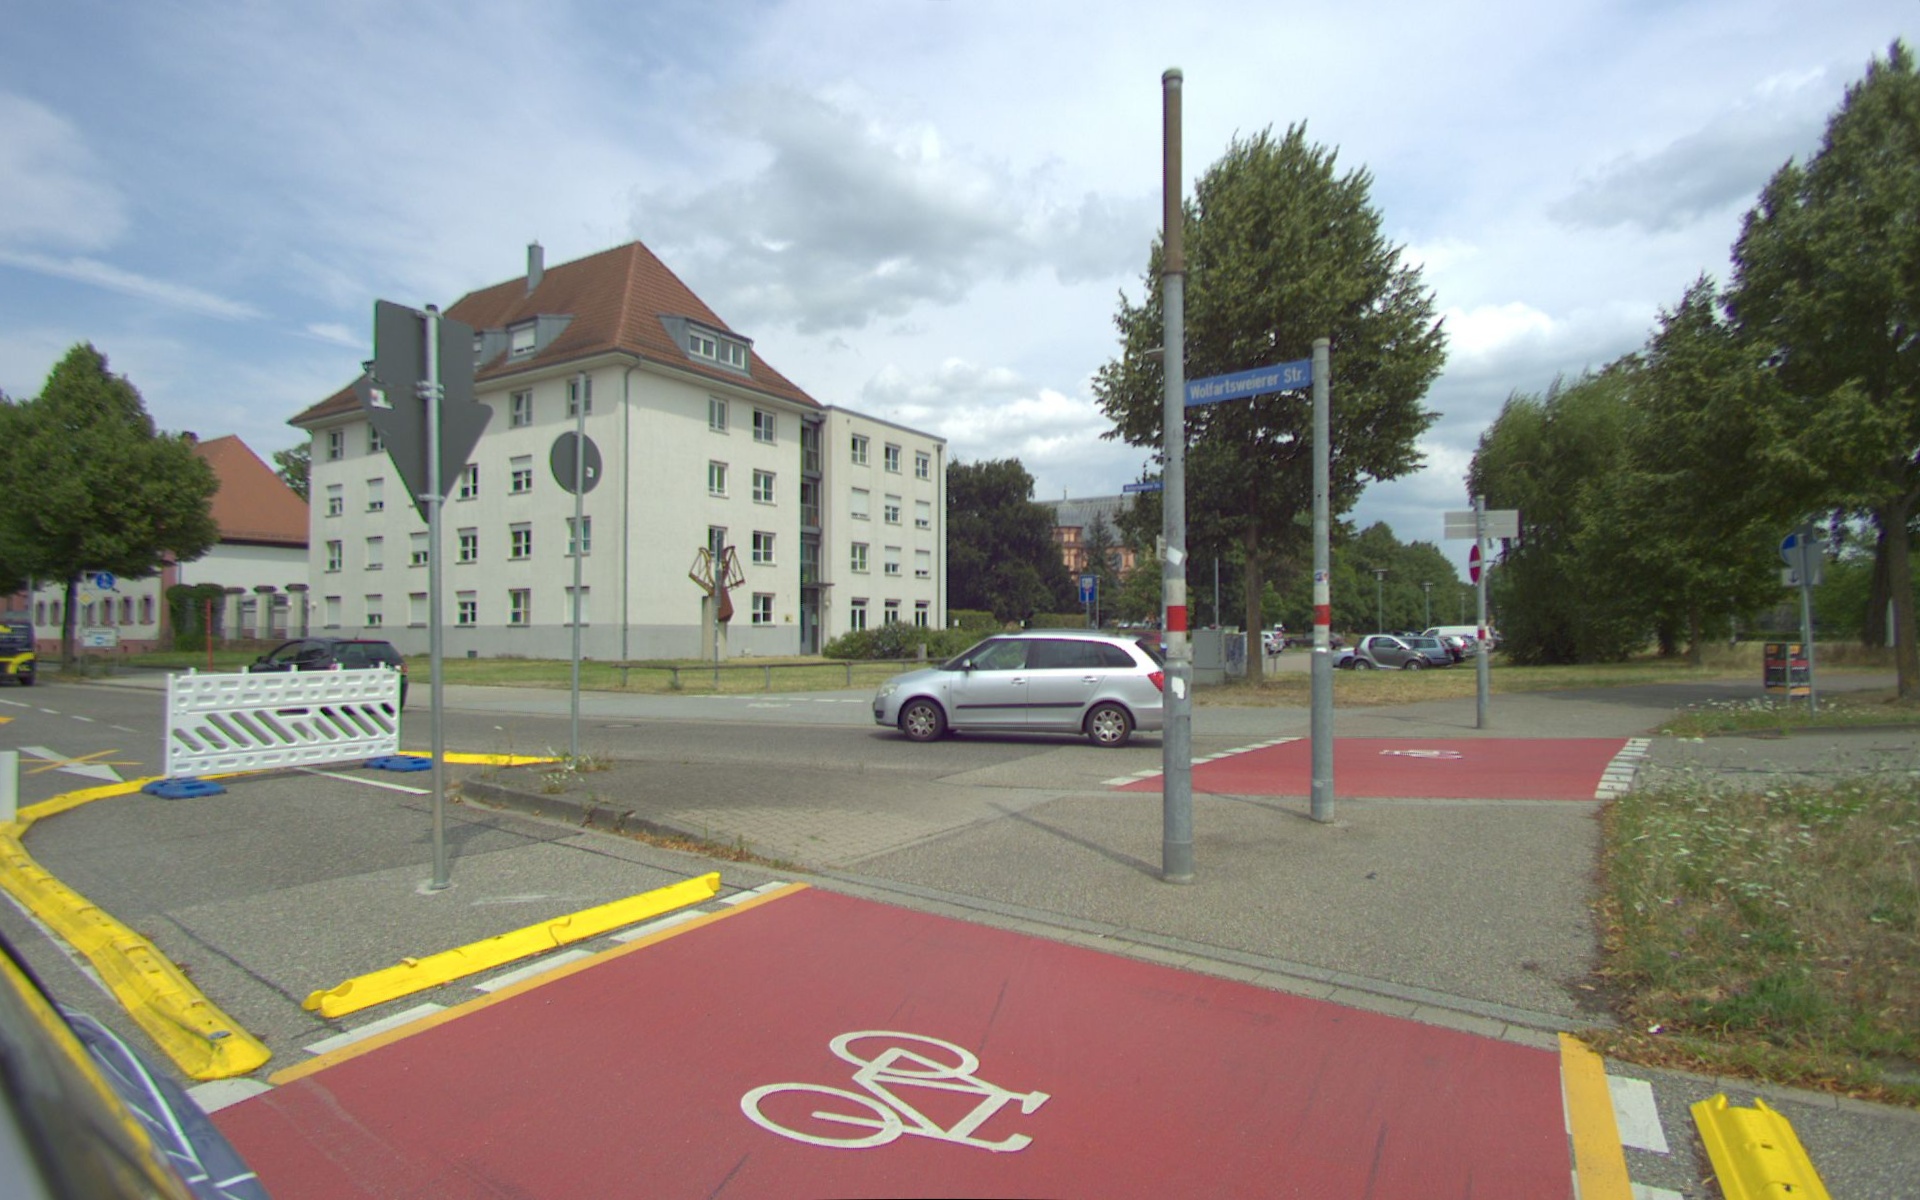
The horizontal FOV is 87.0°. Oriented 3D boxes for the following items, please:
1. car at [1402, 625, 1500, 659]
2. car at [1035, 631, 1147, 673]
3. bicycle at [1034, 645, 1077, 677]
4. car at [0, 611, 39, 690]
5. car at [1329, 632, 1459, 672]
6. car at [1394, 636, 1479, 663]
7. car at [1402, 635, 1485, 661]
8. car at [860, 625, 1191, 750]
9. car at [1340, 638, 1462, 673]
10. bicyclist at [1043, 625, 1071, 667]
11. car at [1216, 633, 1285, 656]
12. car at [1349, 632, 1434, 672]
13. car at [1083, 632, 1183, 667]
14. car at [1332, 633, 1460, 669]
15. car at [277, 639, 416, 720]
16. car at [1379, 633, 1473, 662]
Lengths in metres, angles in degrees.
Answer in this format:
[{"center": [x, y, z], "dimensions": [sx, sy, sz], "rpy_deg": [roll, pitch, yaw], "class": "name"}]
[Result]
[{"center": [31.683, 2.694, 65.398], "dimensions": [5.548, 2.072, 2.178], "rpy_deg": [-1, -2, 30], "class": "car"}, {"center": [5.740, 2.252, 44.511], "dimensions": [4.484, 1.778, 1.979], "rpy_deg": [-1, -2, 31], "class": "car"}, {"center": [3.300, 2.081, 34.817], "dimensions": [0.601, 1.054, 1.805], "rpy_deg": [-2, -3, 39], "class": "bicycle"}, {"center": [-30.030, 1.544, 30.839], "dimensions": [5.152, 2.290, 1.975], "rpy_deg": [-2, -2, 37], "class": "car"}, {"center": [17.825, 2.143, 41.647], "dimensions": [4.687, 1.482, 1.815], "rpy_deg": [-4, -3, 30], "class": "car"}, {"center": [27.673, 2.865, 58.835], "dimensions": [4.298, 1.482, 1.813], "rpy_deg": [-1, -2, 33], "class": "car"}, {"center": [29.163, 2.892, 61.065], "dimensions": [4.298, 1.482, 1.813], "rpy_deg": [-1, -2, 33], "class": "car"}, {"center": [0.884, 1.129, 13.576], "dimensions": [4.171, 1.530, 1.624], "rpy_deg": [-1, -2, 10], "class": "car"}, {"center": [20.106, 2.493, 46.245], "dimensions": [4.873, 1.482, 1.813], "rpy_deg": [-1, -2, 33], "class": "car"}, {"center": [3.356, 1.585, 34.899], "dimensions": [0.601, 1.434, 0.793], "rpy_deg": [-2, -3, 39], "class": "bicyclist"}, {"center": [19.036, 2.891, 66.387], "dimensions": [3.993, 1.479, 1.798], "rpy_deg": [-1, -2, 31], "class": "car"}, {"center": [16.770, 2.044, 39.348], "dimensions": [2.900, 1.434, 1.471], "rpy_deg": [-4, -4, 26], "class": "car"}, {"center": [8.393, 2.374, 49.267], "dimensions": [4.394, 1.610, 1.977], "rpy_deg": [-1, -2, 33], "class": "car"}, {"center": [18.982, 2.215, 44.151], "dimensions": [4.873, 1.482, 1.813], "rpy_deg": [-1, -2, 33], "class": "car"}, {"center": [-12.152, 1.531, 19.962], "dimensions": [1.607, 1.426, 3.725], "rpy_deg": [3, -5, -43], "class": "car"}, {"center": [25.069, 2.548, 54.491], "dimensions": [4.373, 1.482, 1.813], "rpy_deg": [-1, -2, 33], "class": "car"}]
